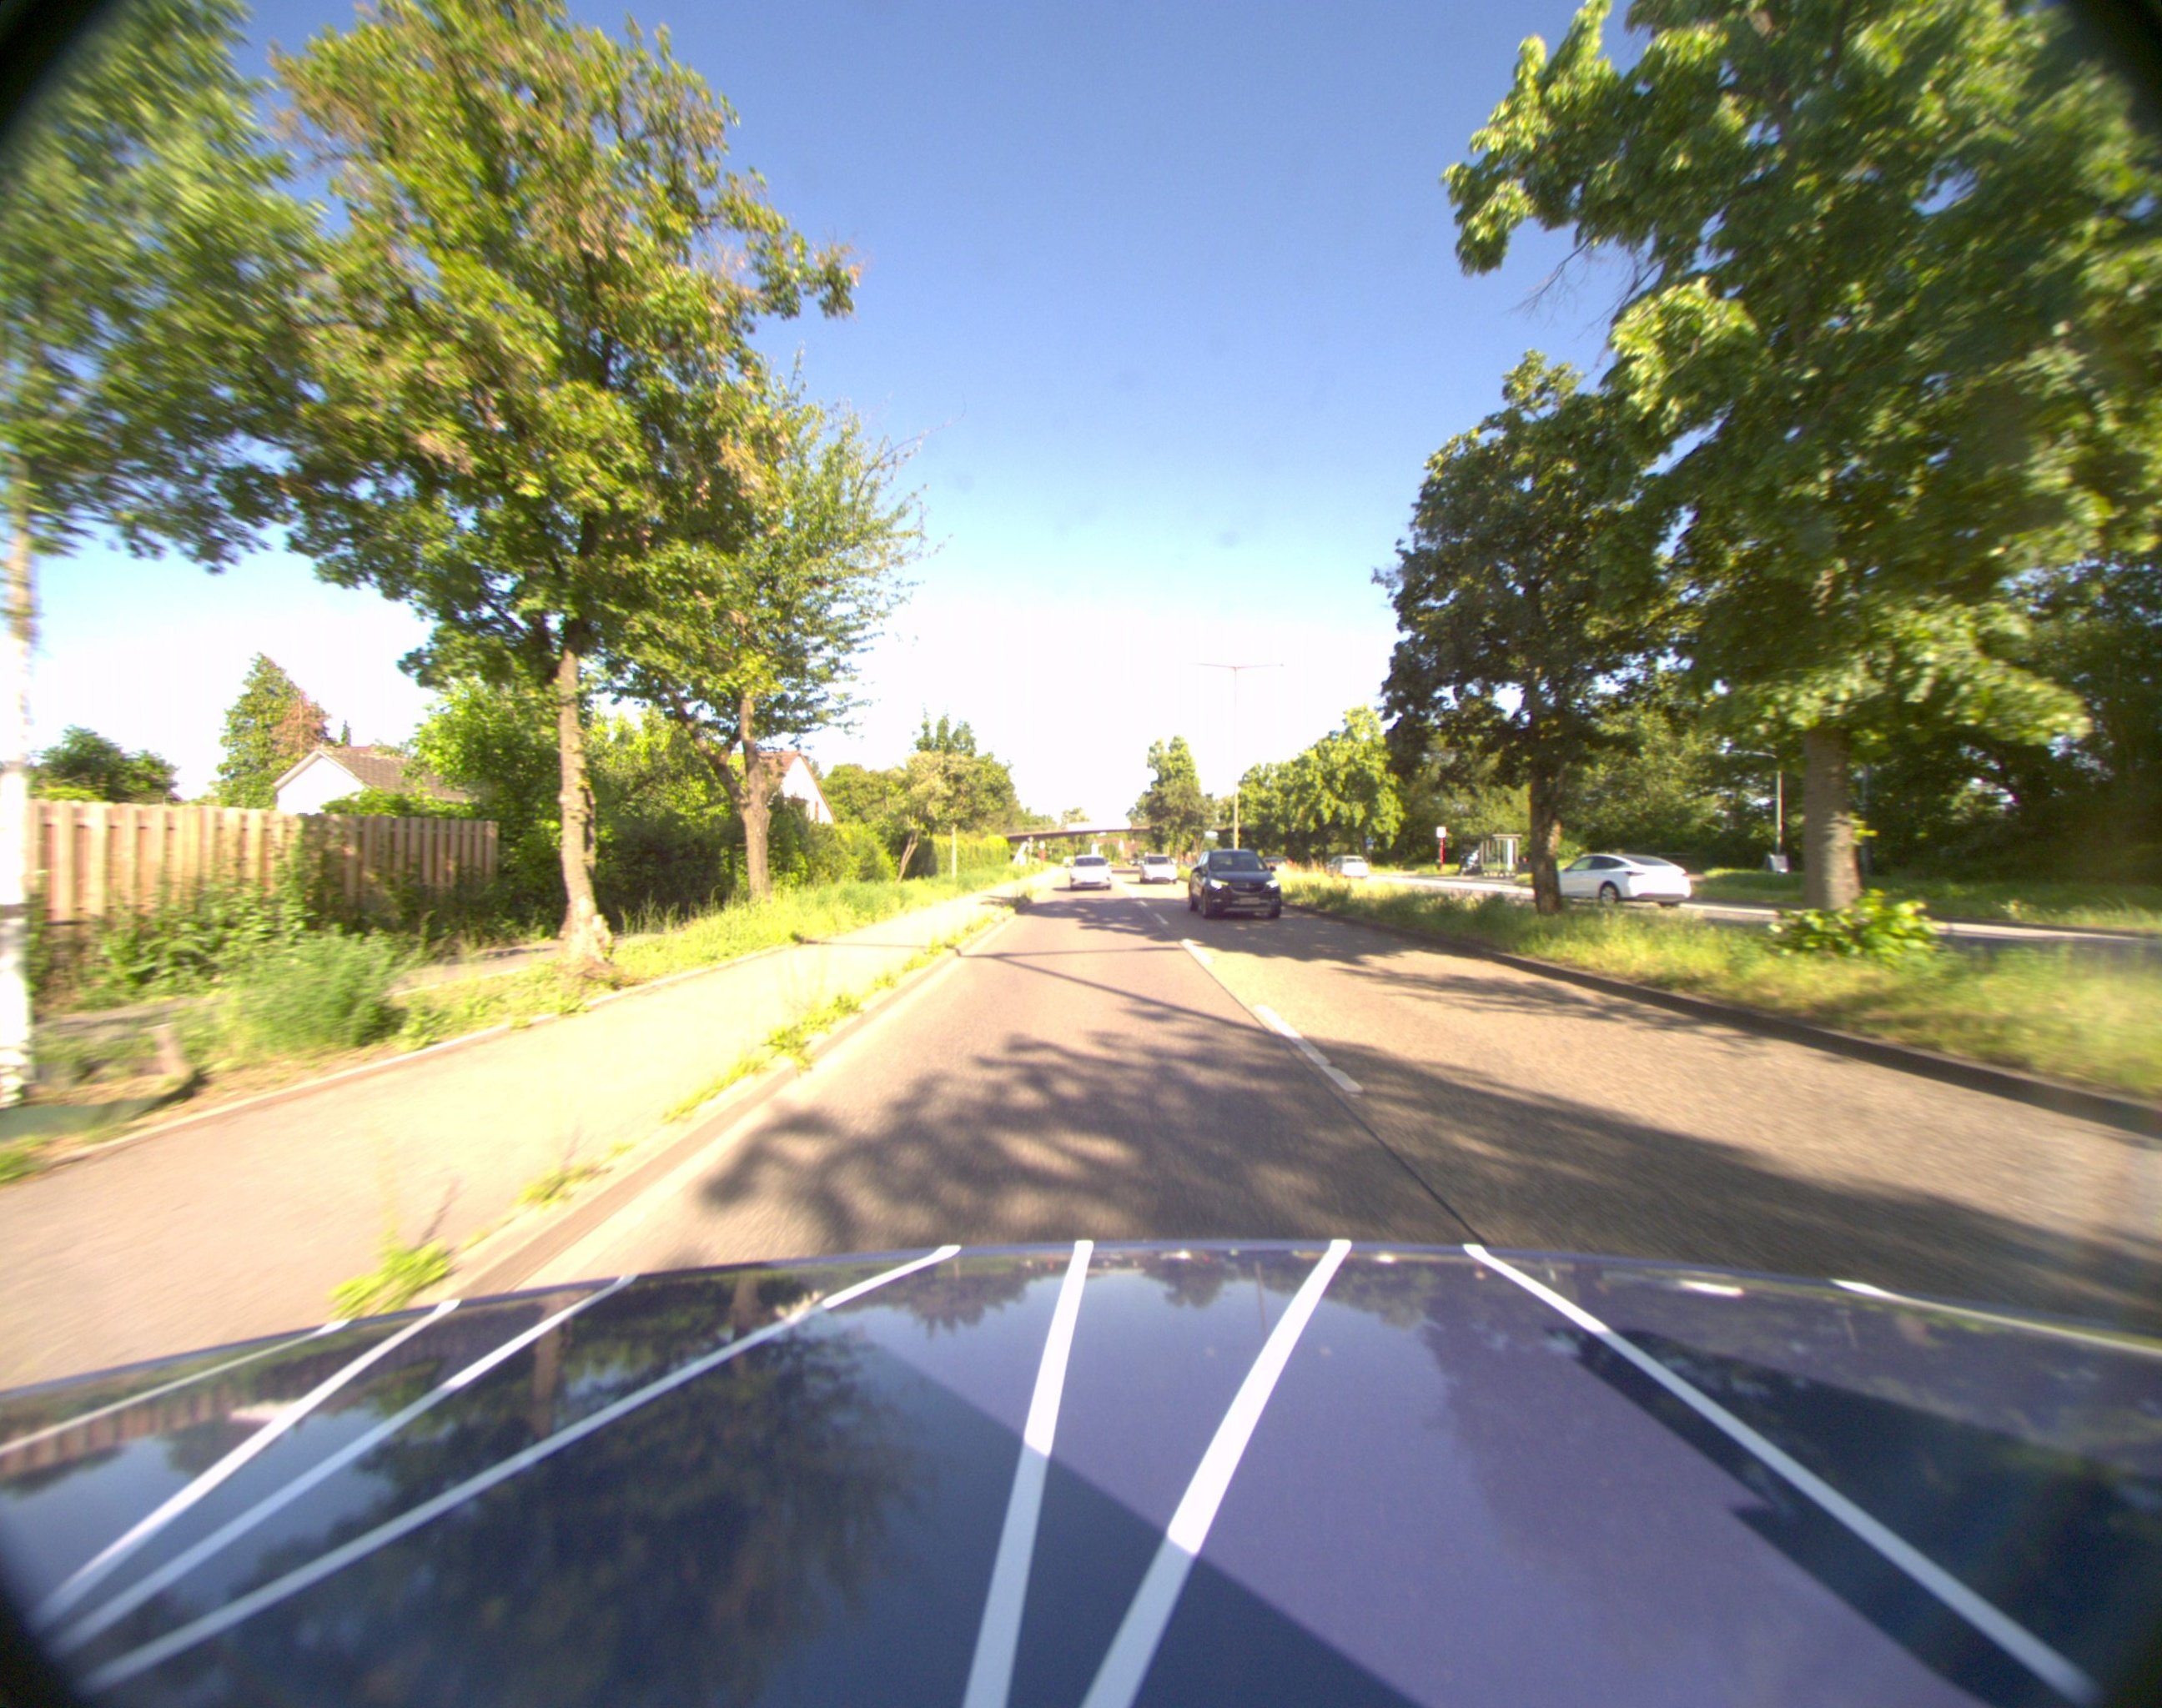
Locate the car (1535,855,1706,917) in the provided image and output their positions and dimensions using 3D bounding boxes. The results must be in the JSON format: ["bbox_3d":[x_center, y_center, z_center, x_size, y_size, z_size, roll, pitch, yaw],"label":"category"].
[{"bbox_3d":[16.386,0.888,23.451,1.844,1.580,4.585,5,0,-1],"label":"car"}]

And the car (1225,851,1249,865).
[{"bbox_3d":[17.324,0.482,84.629,1.810,1.491,4.596,-1,0,0],"label":"car"}]

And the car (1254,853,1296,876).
[{"bbox_3d":[12.696,0.667,49.977,1.706,1.387,4.250,-1,0,1],"label":"car"}]

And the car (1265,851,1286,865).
[{"bbox_3d":[20.556,0.390,80.404,1.585,1.406,3.133,-1,0,5],"label":"car"}]

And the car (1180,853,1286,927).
[{"bbox_3d":[3.674,0.799,19.118,1.811,1.605,4.514,-1,0,1],"label":"car"}]

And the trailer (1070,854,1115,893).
[{"bbox_3d":[0.519,0.820,34.009,1.897,1.586,4.000,-1,1,1],"label":"trailer"}]

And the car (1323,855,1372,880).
[{"bbox_3d":[16.777,0.810,48.010,1.717,1.463,4.064,1,0,2],"label":"car"}]

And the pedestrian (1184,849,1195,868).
[{"bbox_3d":[9.531,0.408,66.829,0.631,1.686,0.945,-1,0,31],"label":"pedestrian"}]

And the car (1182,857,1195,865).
[{"bbox_3d":[19.075,1.229,134.922,1.809,1.491,4.216,-1,0,2],"label":"car"}]

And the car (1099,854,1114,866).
[{"bbox_3d":[3.441,0.835,103.472,1.823,1.587,4.273,-1,0,1],"label":"car"}]

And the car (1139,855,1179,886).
[{"bbox_3d":[4.191,0.870,41.525,1.823,1.553,4.647,-1,-1,2],"label":"car"}]

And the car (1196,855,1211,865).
[{"bbox_3d":[18.529,0.939,114.952,1.809,1.491,4.216,-1,0,2],"label":"car"}]
